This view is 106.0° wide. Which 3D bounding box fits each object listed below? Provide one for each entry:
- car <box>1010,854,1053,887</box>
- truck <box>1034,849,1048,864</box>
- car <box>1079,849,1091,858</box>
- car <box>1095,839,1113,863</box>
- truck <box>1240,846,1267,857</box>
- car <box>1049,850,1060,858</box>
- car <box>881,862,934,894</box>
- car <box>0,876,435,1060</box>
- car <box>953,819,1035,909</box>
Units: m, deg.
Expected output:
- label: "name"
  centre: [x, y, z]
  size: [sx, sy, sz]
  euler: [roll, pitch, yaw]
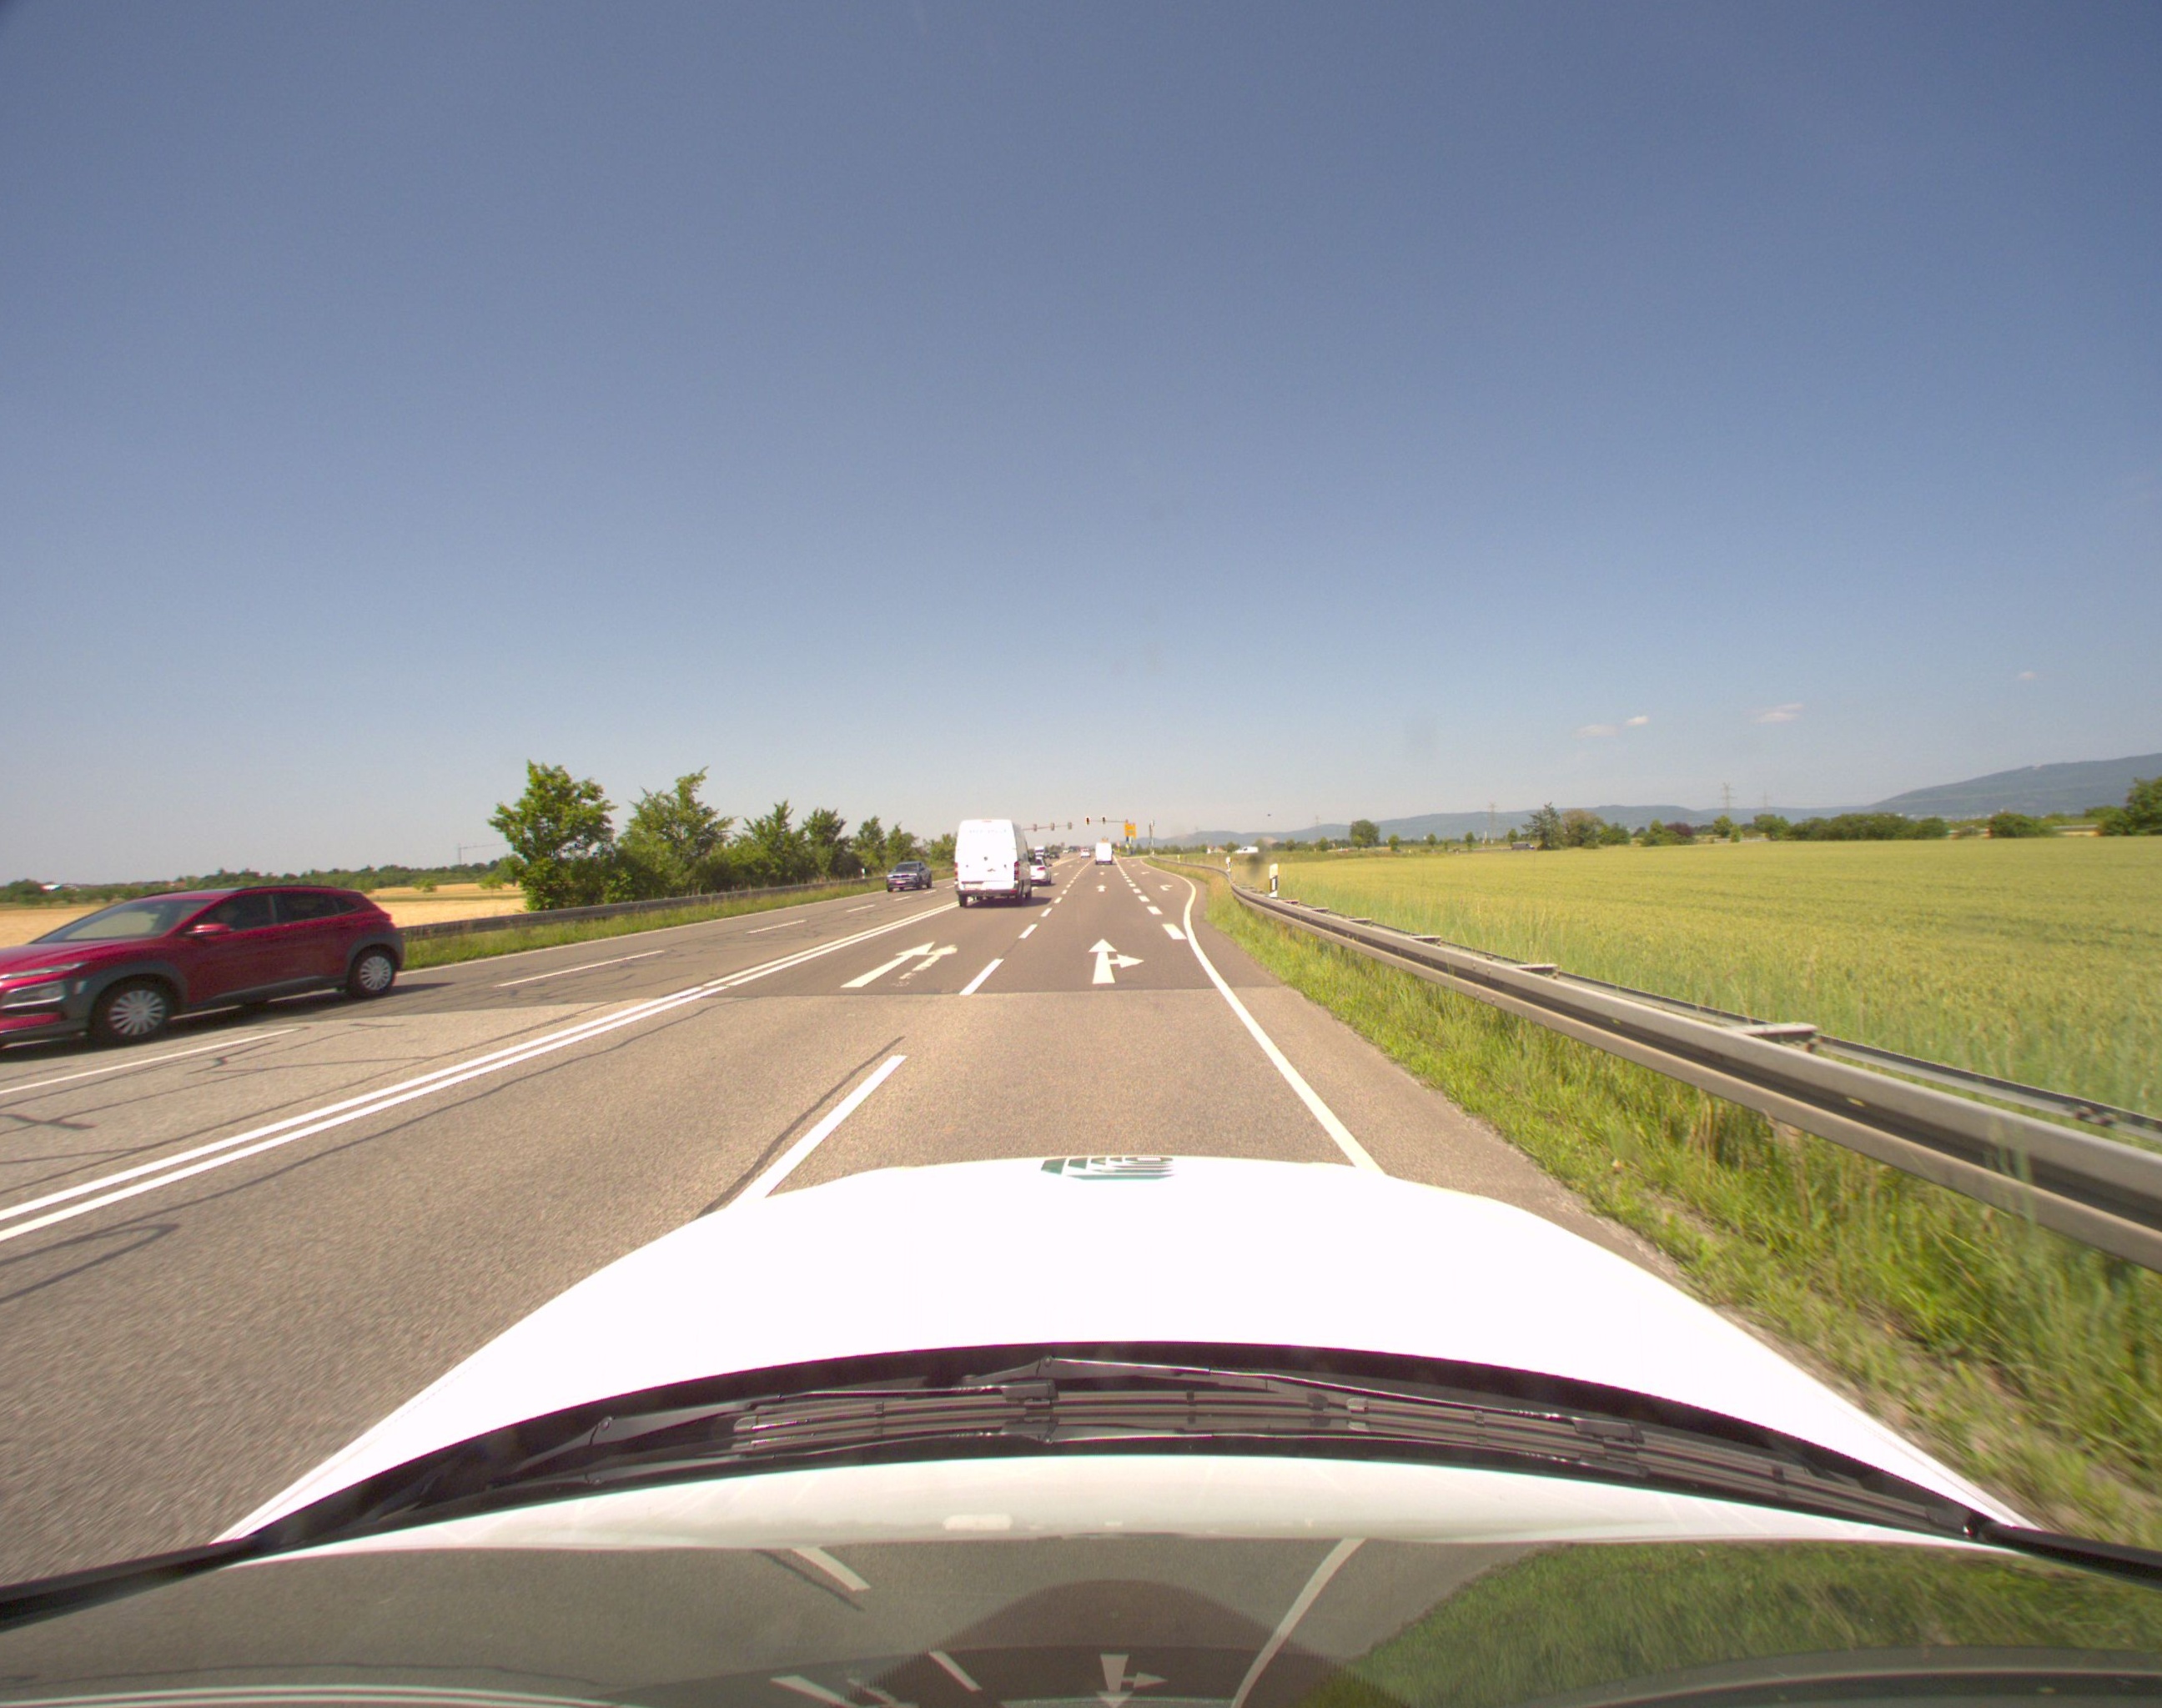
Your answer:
- label: "car"
  centre: [-2.476, 0.808, 41.391]
  size: [1.793, 1.508, 4.197]
  euler: [-1, 0, 1]
- label: "truck"
  centre: [-8.146, 0.476, 166.888]
  size: [2.287, 2.957, 5.286]
  euler: [-1, -1, 3]
- label: "car"
  centre: [0.772, -0.043, 154.680]
  size: [1.986, 1.703, 4.276]
  euler: [0, -1, 2]
- label: "car"
  centre: [2.651, -0.313, 95.504]
  size: [1.986, 2.695, 4.971]
  euler: [-2, 0, 1]
- label: "truck"
  centre: [34.611, -0.494, 163.162]
  size: [4.849, 2.320, 1.991]
  euler: [0, -1, -13]
- label: "car"
  centre: [-5.060, -0.029, 156.101]
  size: [1.850, 1.423, 4.003]
  euler: [-1, -1, 3]
- label: "car"
  centre: [-9.295, 1.249, 43.866]
  size: [1.813, 1.508, 4.127]
  euler: [-4, 0, 1]
- label: "car"
  centre: [-10.404, 1.141, 9.585]
  size: [1.986, 1.562, 4.313]
  euler: [-3, 0, 2]
- label: "car"
  centre: [-2.726, 0.287, 26.799]
  size: [2.032, 2.620, 5.741]
  euler: [0, 0, 0]
